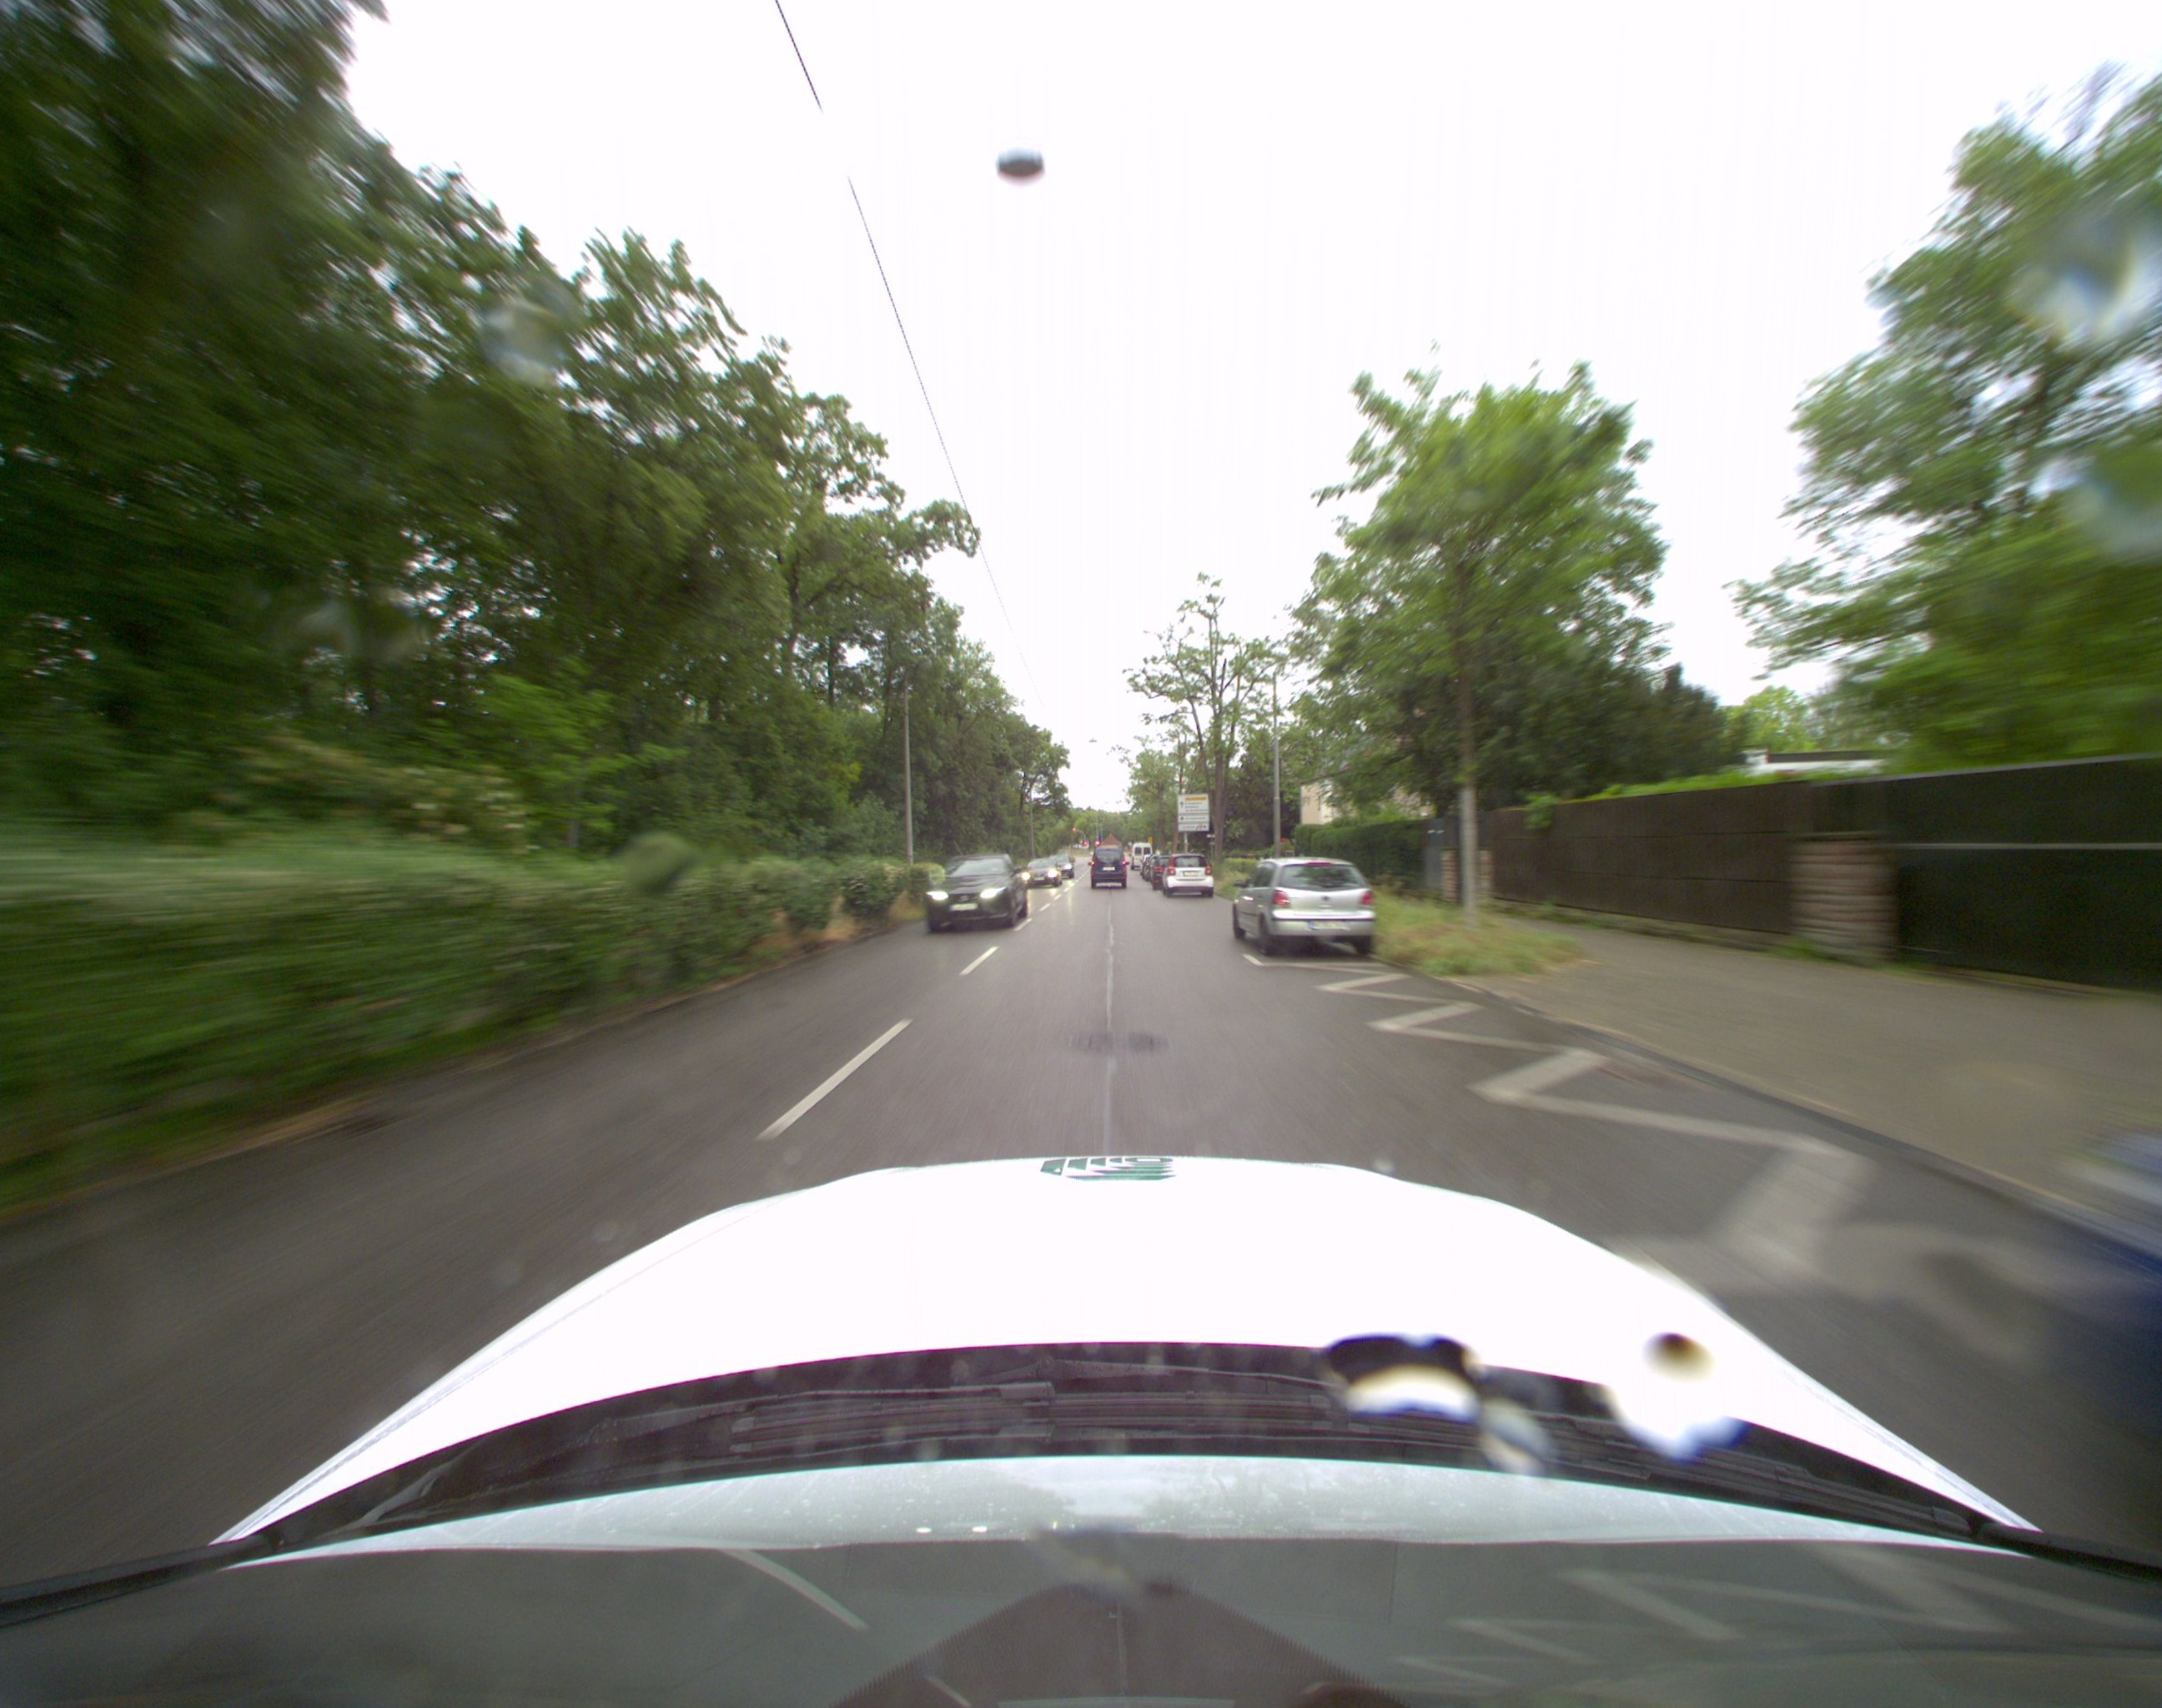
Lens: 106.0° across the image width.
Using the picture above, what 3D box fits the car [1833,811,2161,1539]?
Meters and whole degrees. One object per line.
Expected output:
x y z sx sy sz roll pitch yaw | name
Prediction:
3.035 0.685 0.405 1.714 1.505 4.053 0 1 3 | car

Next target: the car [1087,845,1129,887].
1.199 0.504 37.569 1.762 1.830 3.541 0 1 -1 | car

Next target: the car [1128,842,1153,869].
5.588 0.111 76.992 2.196 2.449 4.732 -2 0 2 | car

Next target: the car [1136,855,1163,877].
4.886 0.821 58.700 1.692 1.524 3.868 0 0 1 | car

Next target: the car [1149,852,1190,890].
3.840 0.717 35.947 1.690 1.524 3.873 0 1 4 | car

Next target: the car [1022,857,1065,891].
-1.847 0.959 41.810 1.722 1.442 5.115 -3 1 2 | car

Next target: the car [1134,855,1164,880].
4.327 0.859 52.391 1.692 1.524 3.868 0 0 1 | car

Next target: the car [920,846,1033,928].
-2.272 0.659 18.824 1.797 1.547 4.434 -3 1 2 | car

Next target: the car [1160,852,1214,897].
3.800 0.703 29.661 1.627 1.509 2.958 0 1 1 | car

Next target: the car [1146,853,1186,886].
4.180 0.728 40.605 1.692 1.524 3.868 0 0 1 | car

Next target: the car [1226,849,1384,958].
3.524 0.692 13.485 1.612 1.508 3.835 0 1 1 | car

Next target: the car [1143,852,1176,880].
4.460 0.652 46.567 1.691 1.524 4.214 0 0 3 | car

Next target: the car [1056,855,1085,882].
-0.677 0.929 55.086 1.716 1.615 4.157 -3 1 2 | car
